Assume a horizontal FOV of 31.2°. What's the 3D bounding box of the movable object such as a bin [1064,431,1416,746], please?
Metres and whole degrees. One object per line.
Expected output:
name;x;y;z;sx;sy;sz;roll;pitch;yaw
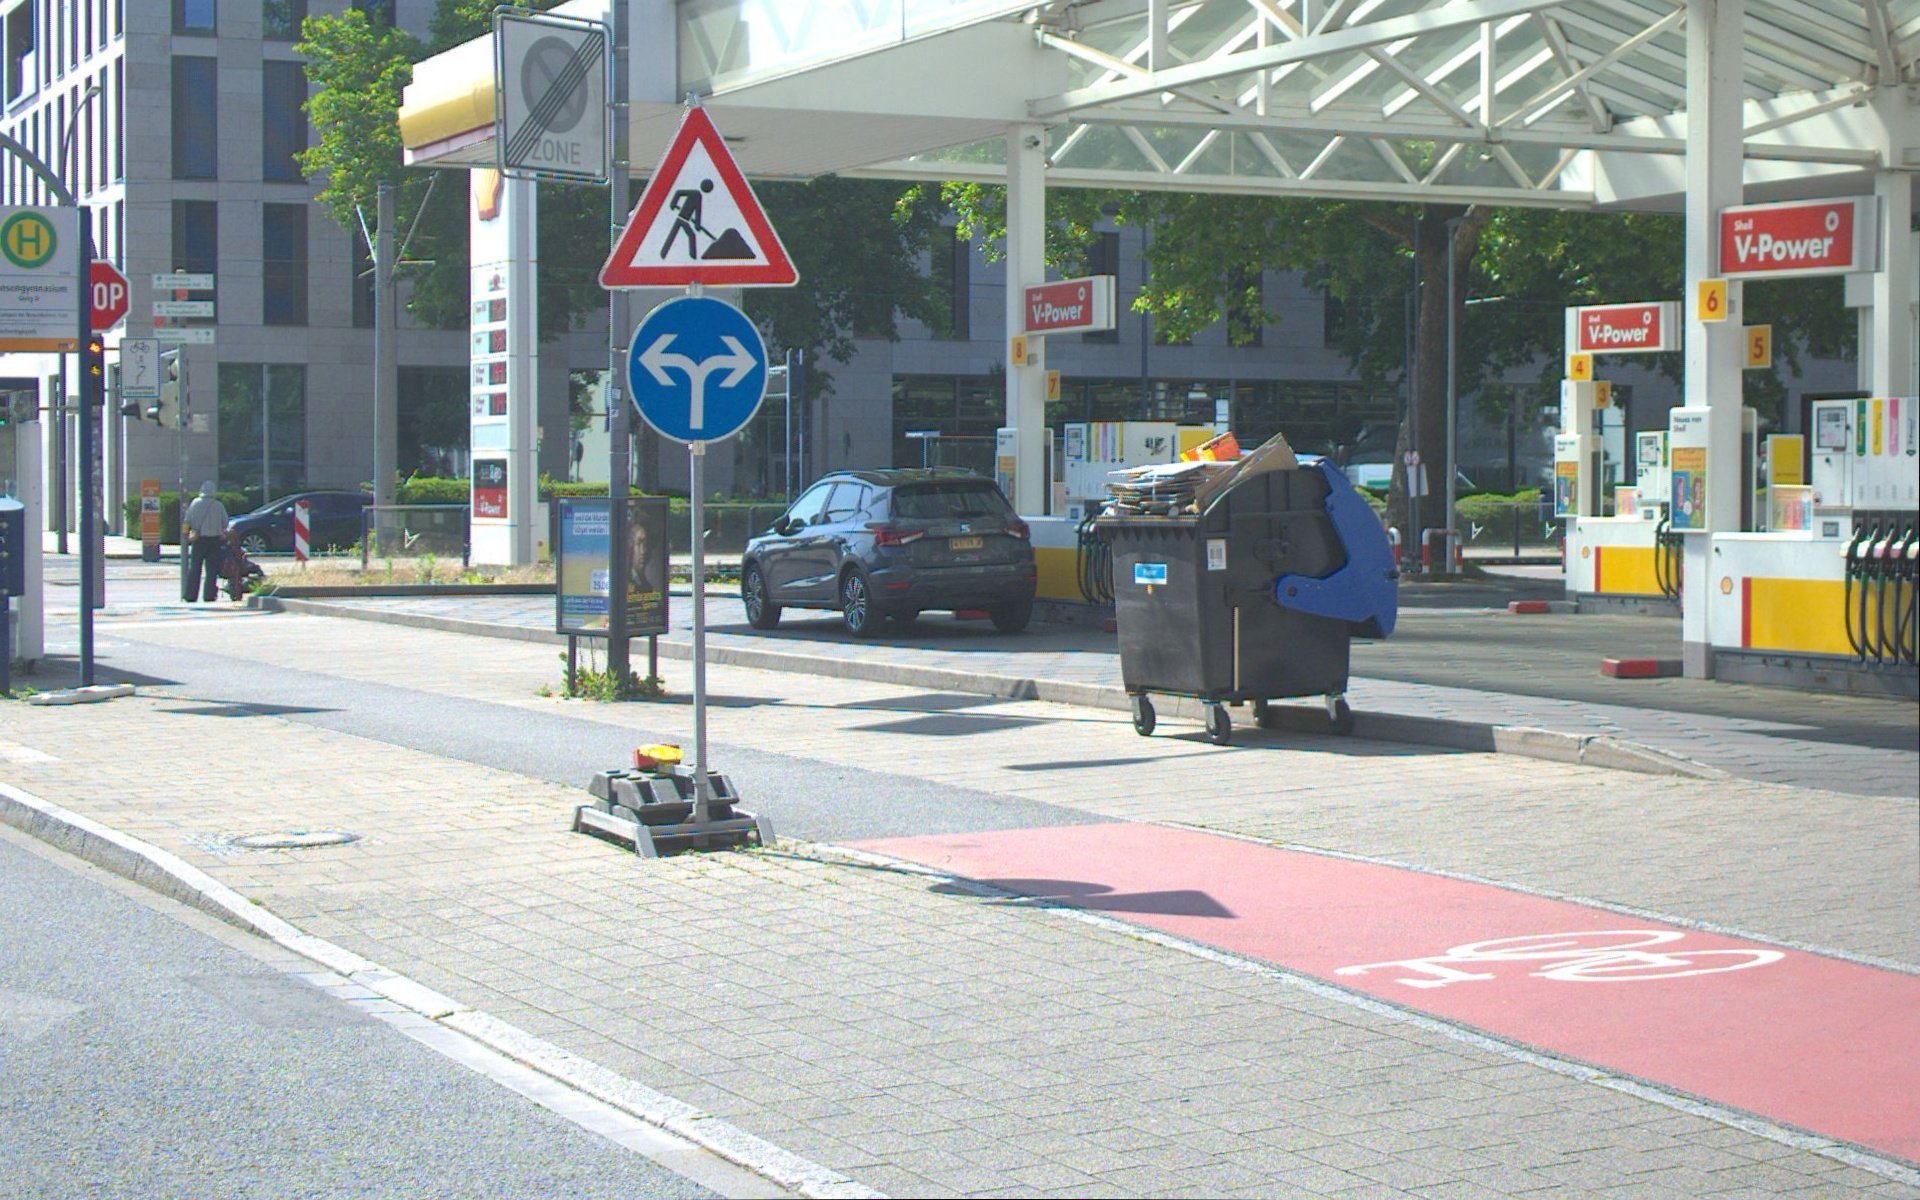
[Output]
movable object such as a bin;1.501;-0.093;18.598;1.307;1.586;1.396;-3;3;-28

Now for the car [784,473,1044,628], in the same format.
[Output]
car;-0.497;-0.495;32.856;1.649;1.393;3.643;0;2;-15

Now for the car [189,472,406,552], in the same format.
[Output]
car;-13.925;-1.854;72.275;4.109;1.633;2.001;-1;2;-25

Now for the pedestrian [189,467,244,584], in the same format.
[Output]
pedestrian;-9.830;-0.986;45.449;0.618;1.538;0.461;0;2;-26

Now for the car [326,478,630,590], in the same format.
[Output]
car;-7.003;-0.977;49.965;3.986;1.576;1.844;-1;2;-26
